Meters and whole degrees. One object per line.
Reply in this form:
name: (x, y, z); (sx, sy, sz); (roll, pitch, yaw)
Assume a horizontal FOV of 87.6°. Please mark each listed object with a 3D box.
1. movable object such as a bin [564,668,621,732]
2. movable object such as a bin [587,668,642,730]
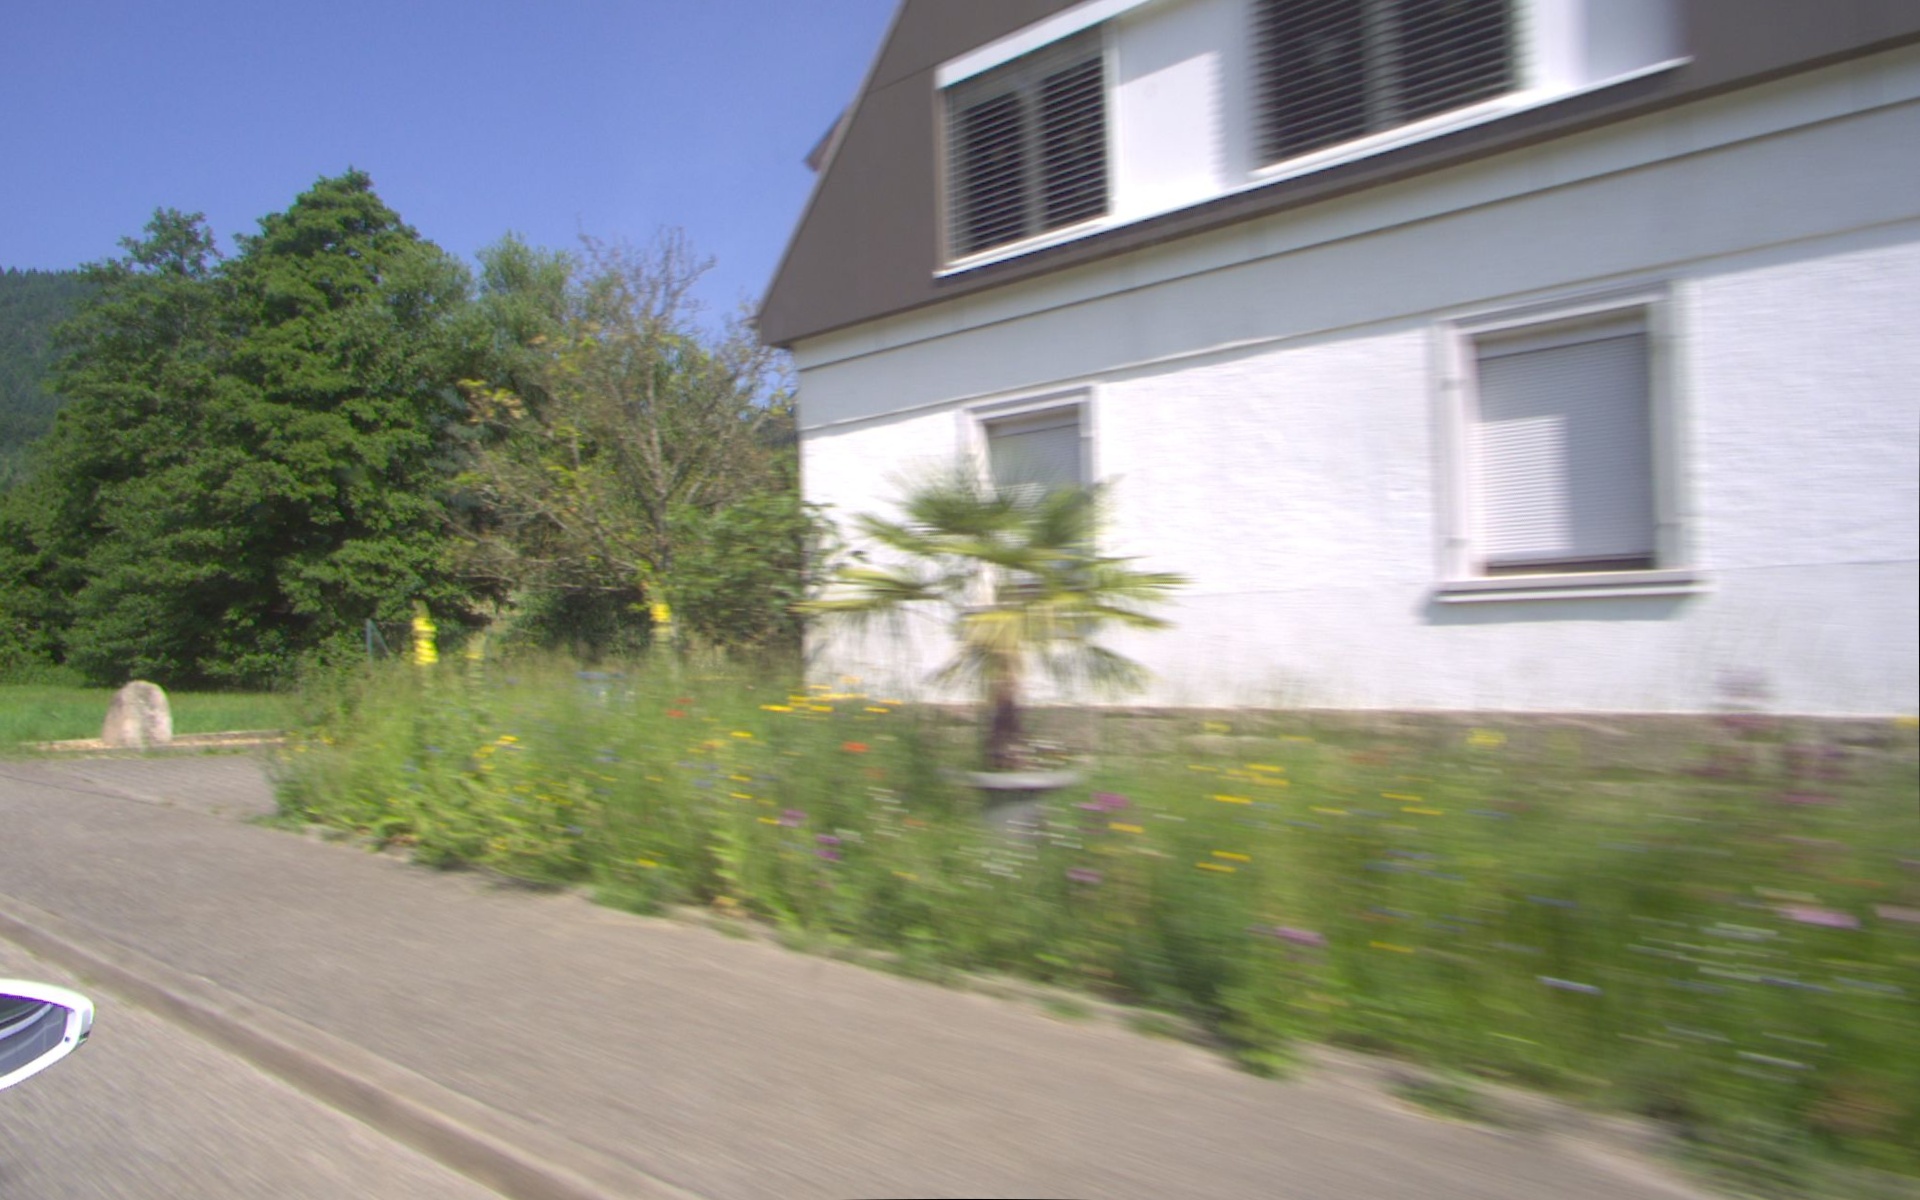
movable object such as a bin: (-6.669, 1.804, 18.172); (0.780, 1.132, 0.569); (-1, -3, 22)
movable object such as a bin: (-6.454, 1.837, 18.724); (0.785, 1.132, 0.569); (-1, -3, 22)
